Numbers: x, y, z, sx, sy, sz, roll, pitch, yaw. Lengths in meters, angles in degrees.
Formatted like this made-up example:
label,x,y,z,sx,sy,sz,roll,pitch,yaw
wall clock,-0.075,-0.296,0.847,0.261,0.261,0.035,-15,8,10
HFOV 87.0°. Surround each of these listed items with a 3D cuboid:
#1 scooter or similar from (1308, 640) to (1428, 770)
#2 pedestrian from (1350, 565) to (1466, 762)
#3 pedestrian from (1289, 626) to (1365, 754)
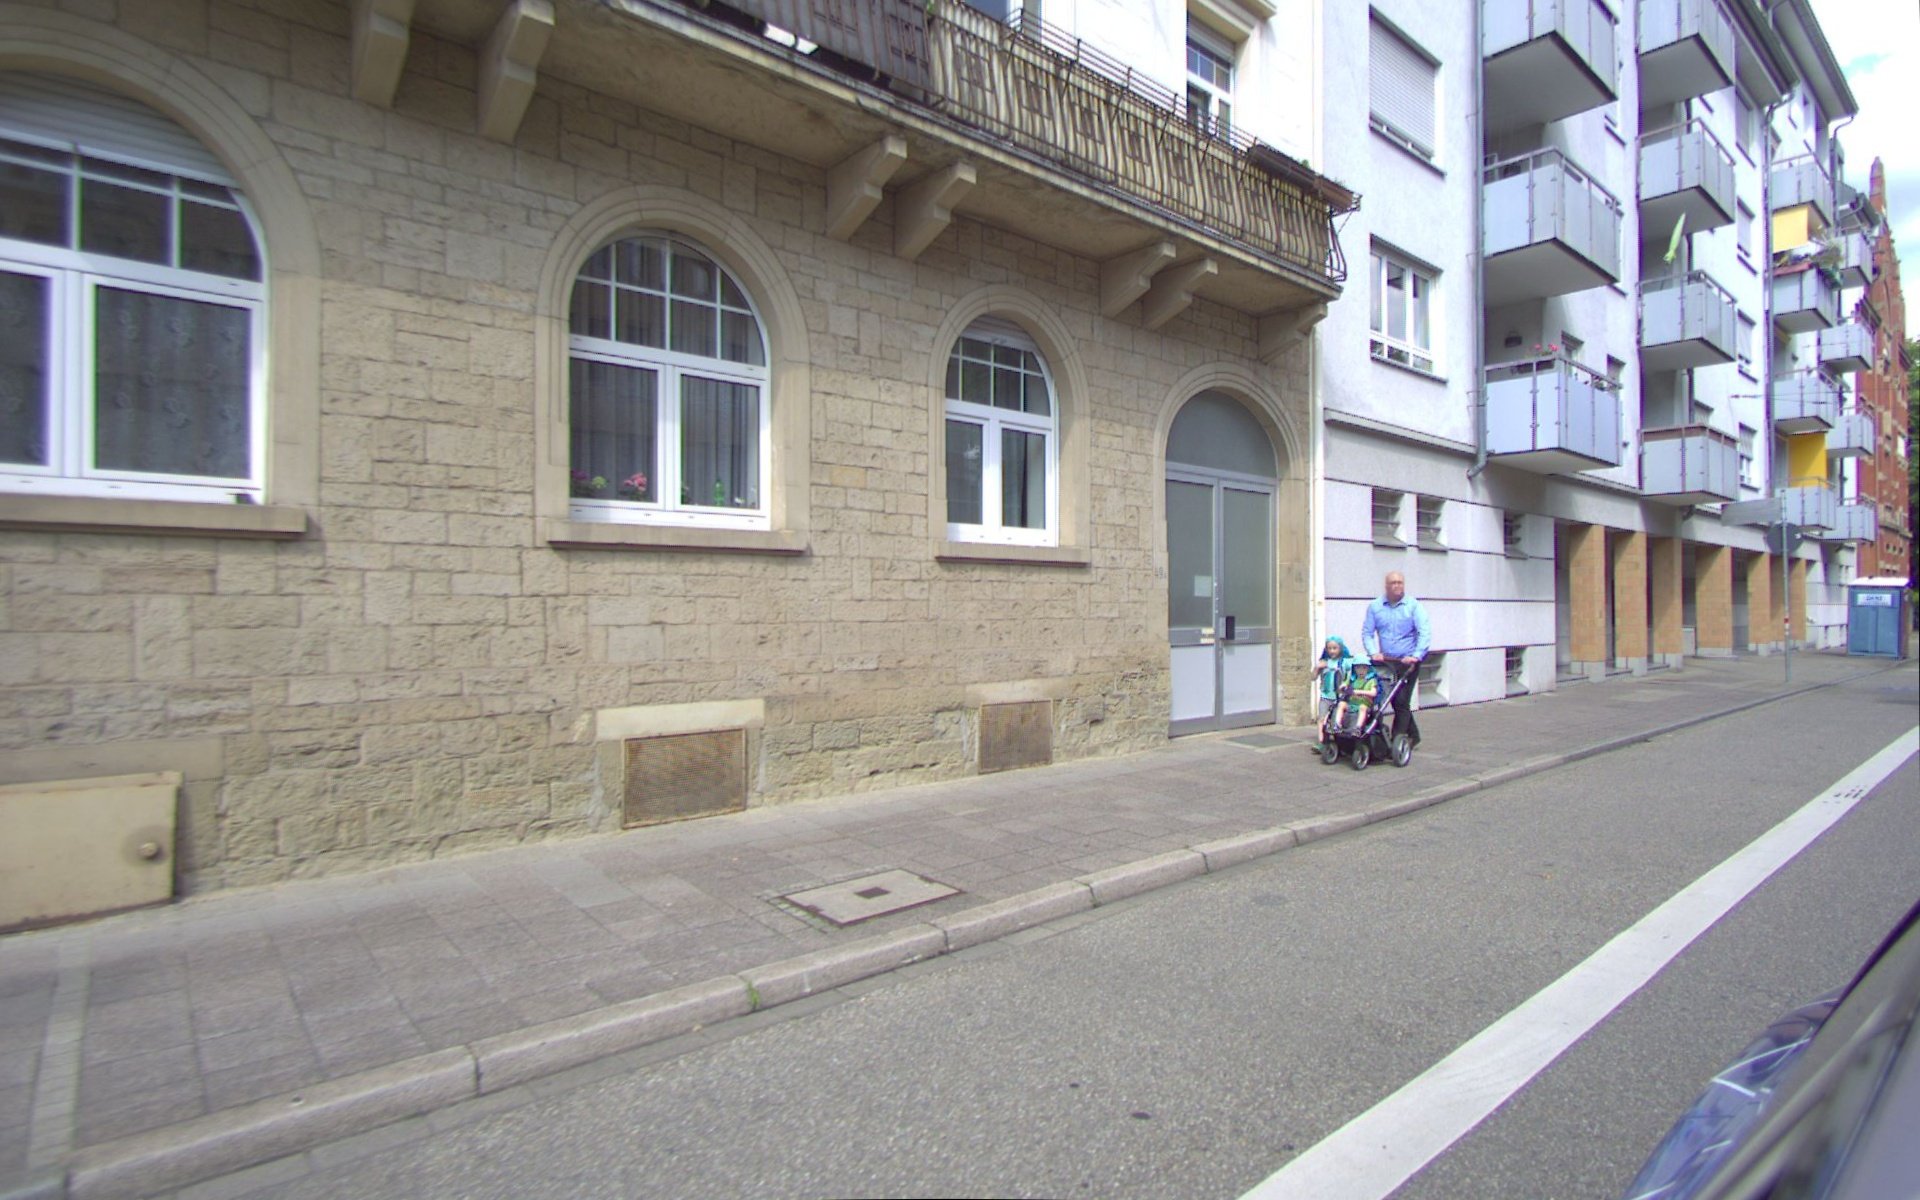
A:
label,x,y,z,sx,sy,sz,roll,pitch,yaw
scooter or similar,3.623,0.901,8.982,0.889,1.014,0.594,0,3,-40
pedestrian,4.248,0.564,9.589,0.861,1.760,0.622,0,2,-40
pedestrian,3.530,0.845,9.739,0.485,1.148,0.457,0,3,-40
